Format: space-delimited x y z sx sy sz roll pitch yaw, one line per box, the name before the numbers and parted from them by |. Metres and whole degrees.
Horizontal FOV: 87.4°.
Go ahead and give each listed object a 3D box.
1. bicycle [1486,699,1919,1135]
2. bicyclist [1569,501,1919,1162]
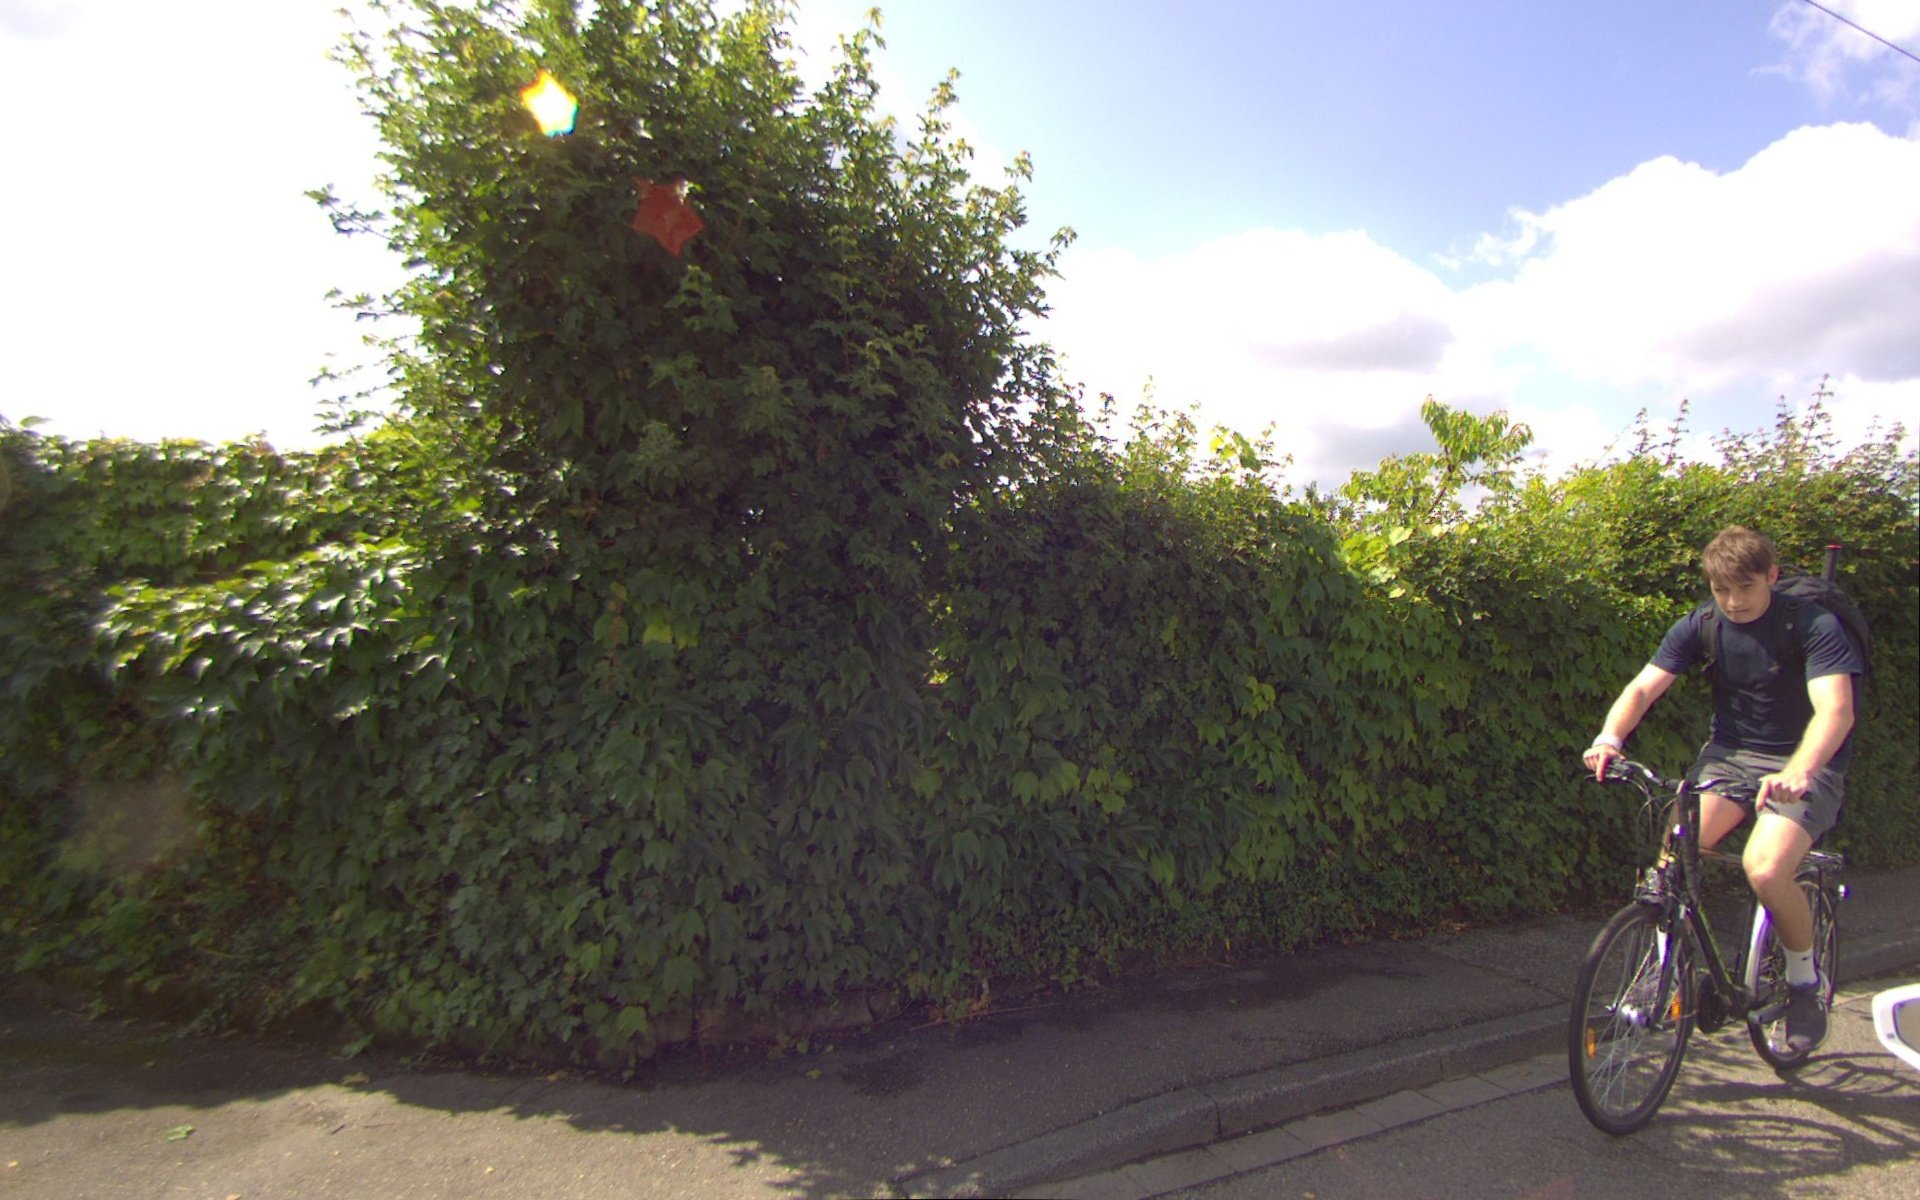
bicycle | 2.627 0.932 3.391 1.802 1.165 0.516 3 -3 -25
bicyclist | 2.724 0.686 3.398 1.029 1.876 0.657 2 -3 -24
